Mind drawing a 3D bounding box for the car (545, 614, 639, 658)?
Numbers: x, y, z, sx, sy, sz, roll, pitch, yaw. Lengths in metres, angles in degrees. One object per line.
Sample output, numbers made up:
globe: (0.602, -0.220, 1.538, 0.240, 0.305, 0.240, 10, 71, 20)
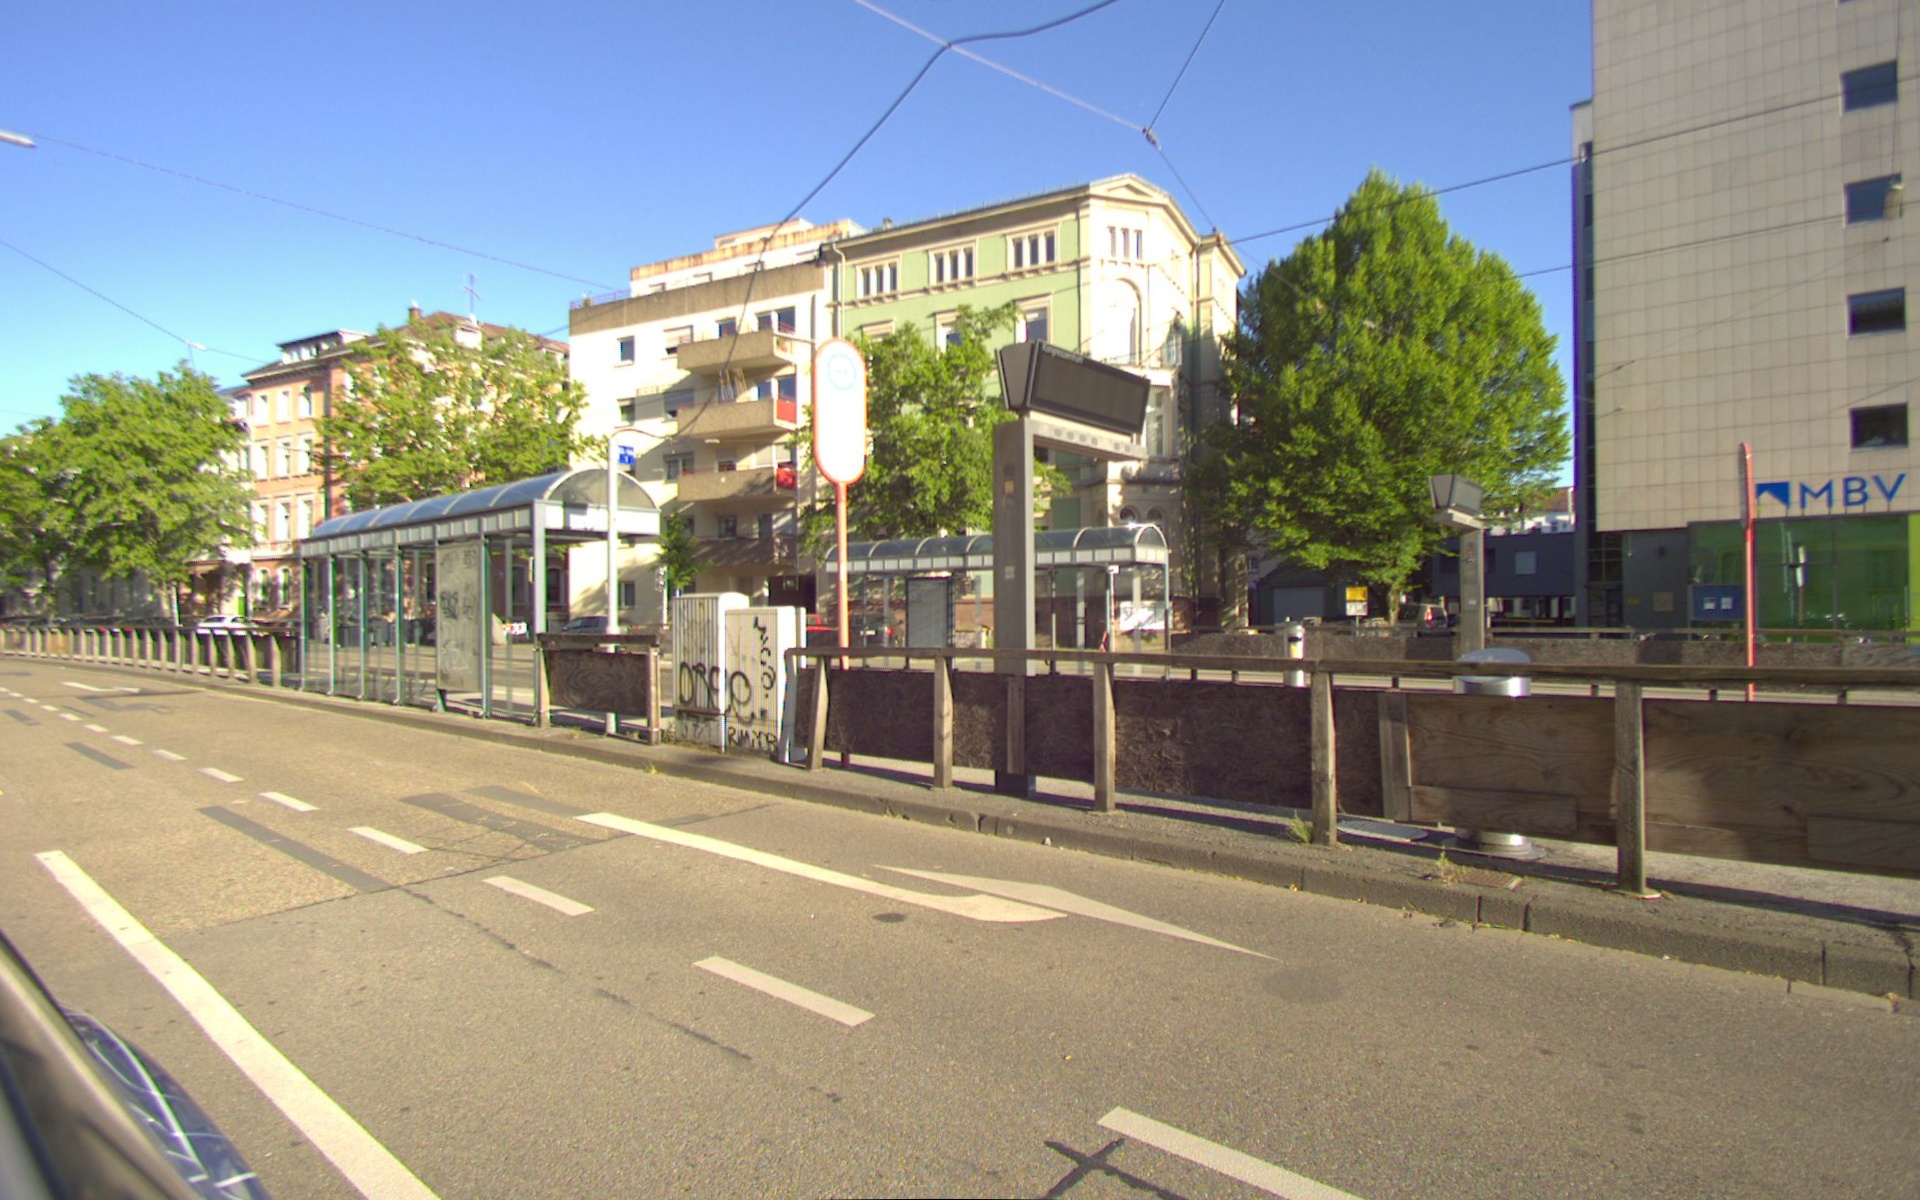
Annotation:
car: (-14.037, 1.328, 38.514, 3.592, 1.579, 1.612, -1, 0, 35)

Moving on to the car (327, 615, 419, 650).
car: (-28.403, 1.553, 49.051, 1.626, 1.579, 3.560, -1, 0, 33)

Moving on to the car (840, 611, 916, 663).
car: (-2.652, 1.181, 33.366, 1.614, 1.579, 3.588, -1, 0, 11)

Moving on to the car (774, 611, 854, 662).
car: (-4.925, 1.211, 34.562, 1.614, 1.579, 3.588, -1, 0, 11)

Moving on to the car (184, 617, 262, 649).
car: (-39.403, 1.733, 54.209, 1.607, 1.579, 3.601, -1, 0, -2)
